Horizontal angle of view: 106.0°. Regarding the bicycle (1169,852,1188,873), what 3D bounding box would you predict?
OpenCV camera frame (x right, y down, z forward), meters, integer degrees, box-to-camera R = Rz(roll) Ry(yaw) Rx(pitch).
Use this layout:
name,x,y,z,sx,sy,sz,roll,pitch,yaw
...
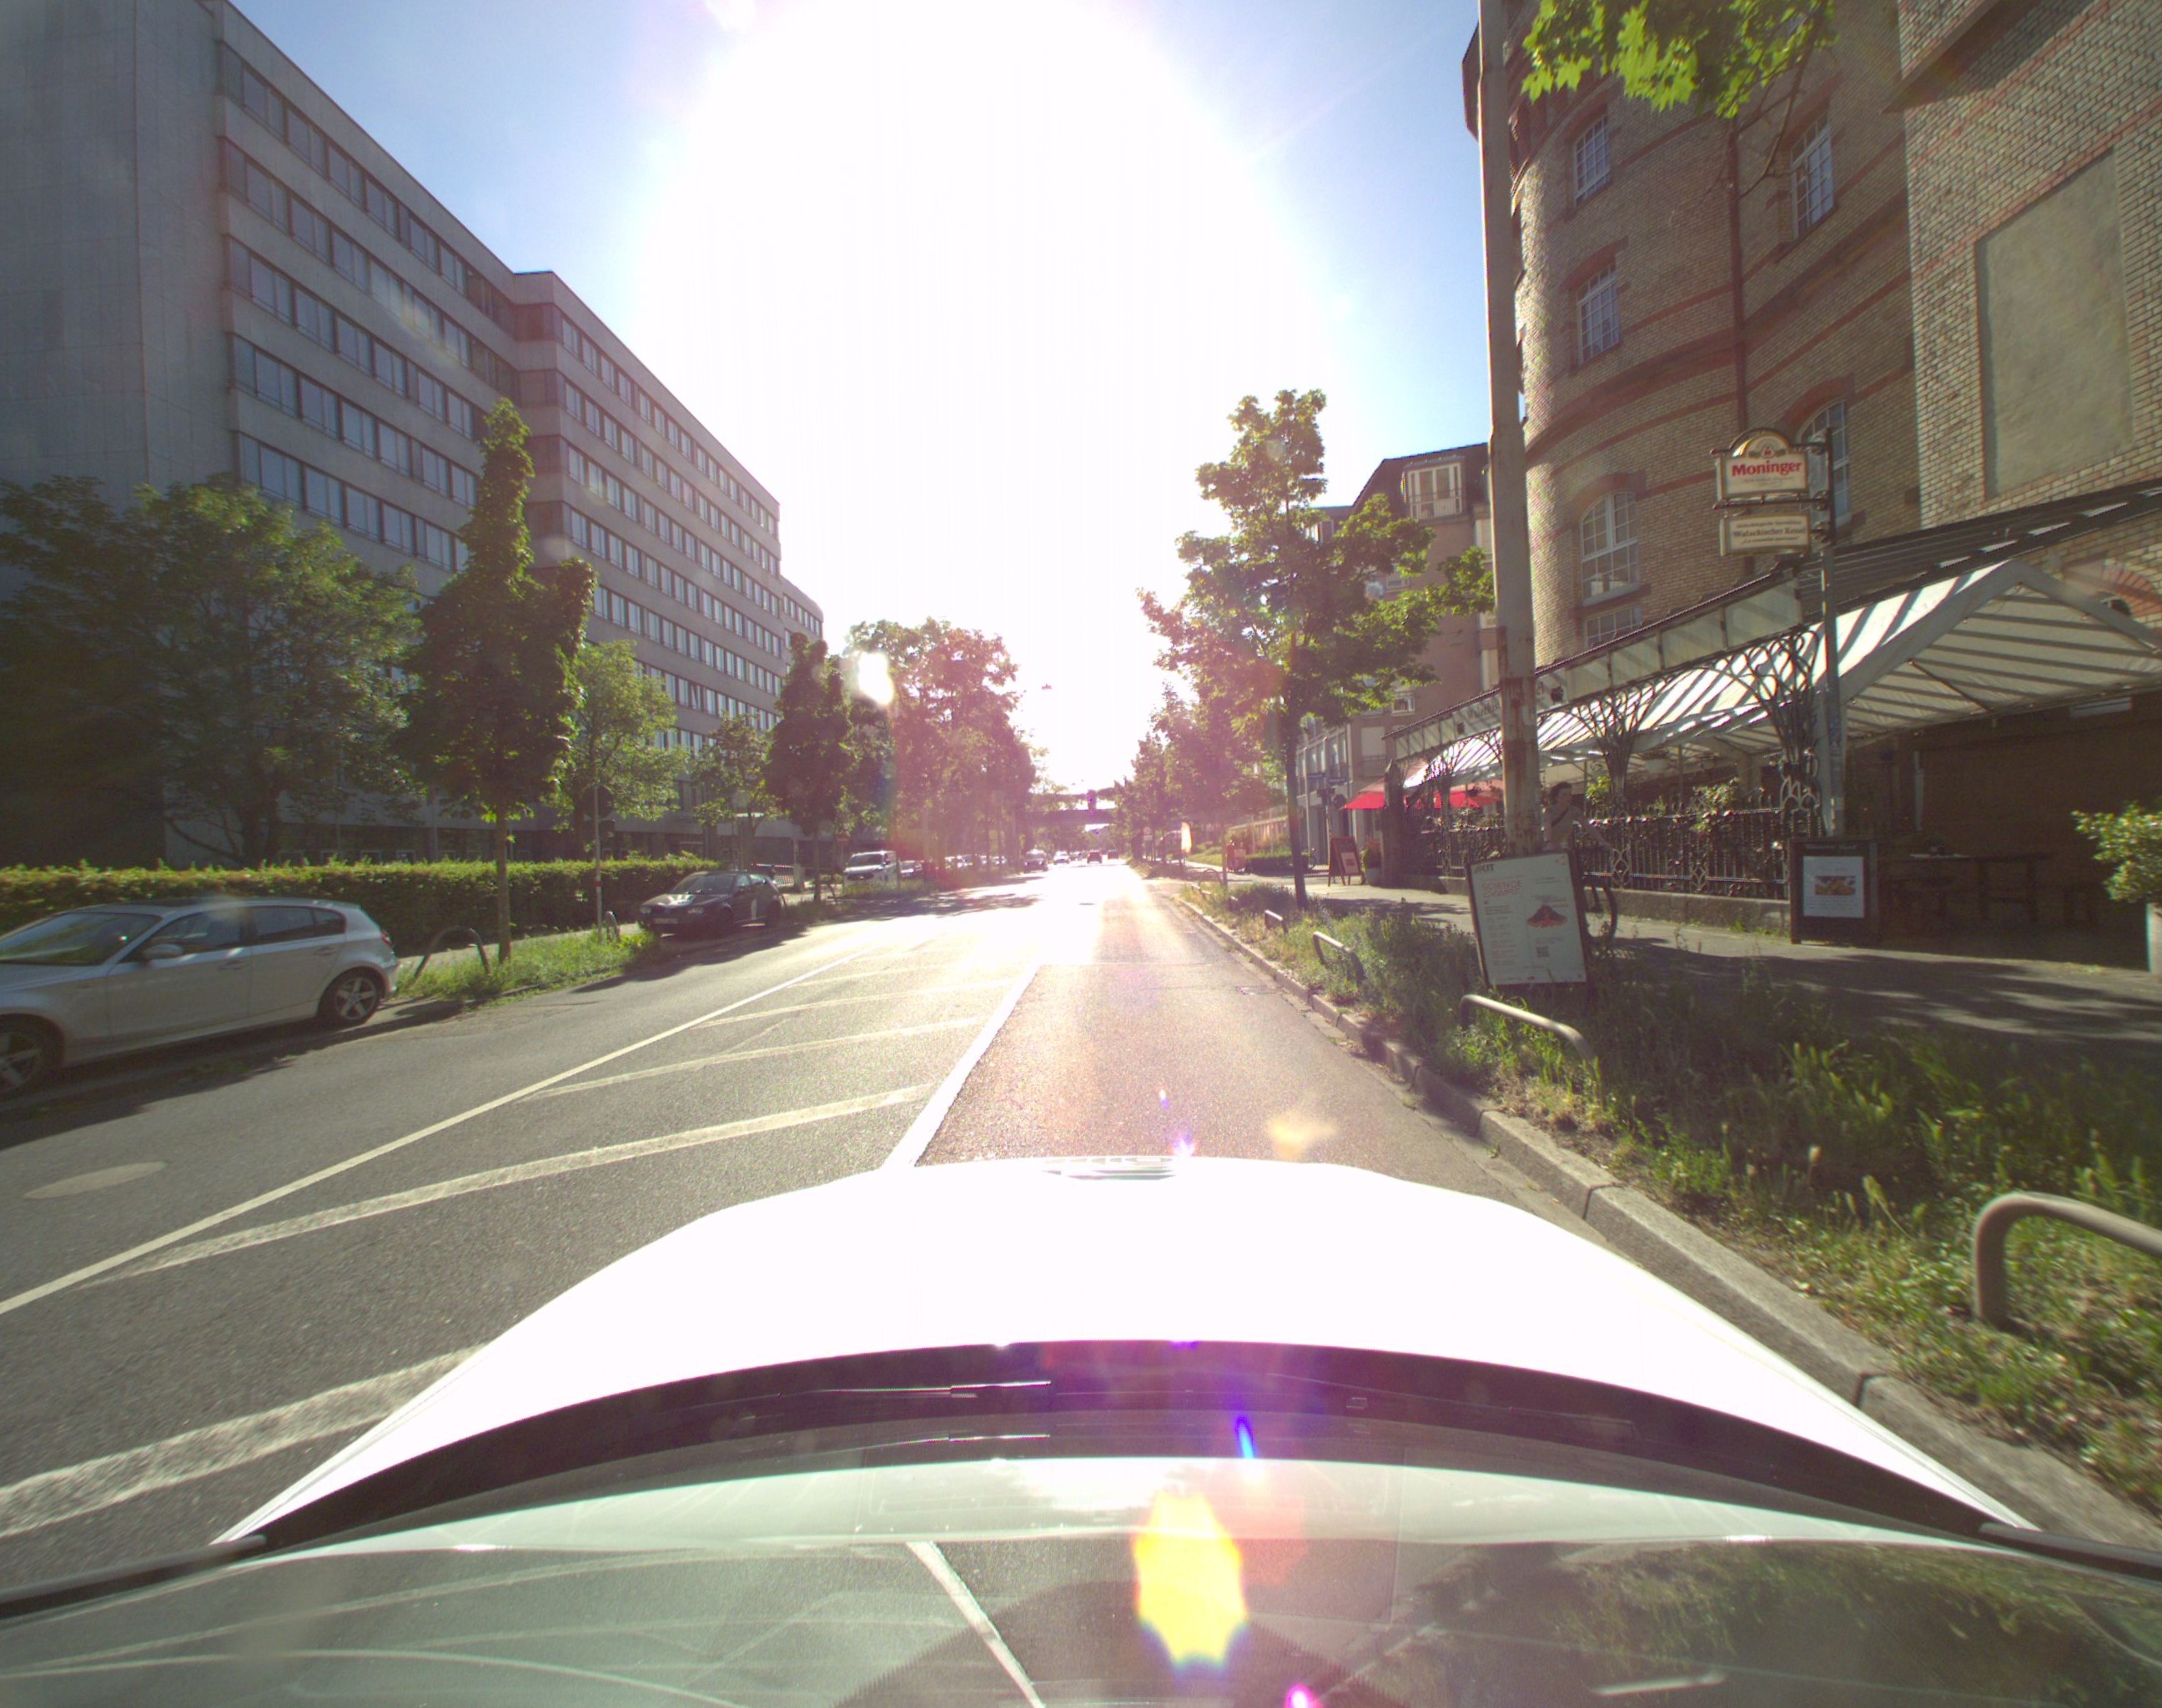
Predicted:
name,x,y,z,sx,sy,sz,roll,pitch,yaw
bicycle,5.228,0.442,43.683,0.586,1.066,2.032,-3,1,18

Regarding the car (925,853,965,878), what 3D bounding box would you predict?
name,x,y,z,sx,sy,sz,roll,pitch,yaw
car,-9.343,0.770,56.305,1.848,1.523,4.067,-2,0,3

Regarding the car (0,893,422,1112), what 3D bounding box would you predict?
name,x,y,z,sx,sy,sz,roll,pitch,yaw
car,-8.695,1.186,7.467,1.680,1.383,4.196,0,1,4

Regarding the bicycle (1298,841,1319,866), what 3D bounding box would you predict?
name,x,y,z,sx,sy,sz,roll,pitch,yaw
bicycle,10.972,-0.024,39.363,0.681,1.027,2.210,-4,2,10

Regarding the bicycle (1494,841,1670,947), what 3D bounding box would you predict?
name,x,y,z,sx,sy,sz,roll,pitch,yaw
bicycle,5.531,0.407,9.180,0.683,1.027,2.096,-3,0,1

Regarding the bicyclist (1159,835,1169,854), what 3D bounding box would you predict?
name,x,y,z,sx,sy,sz,roll,pitch,yaw
bicyclist,7.426,-0.862,72.871,0.665,1.695,0.889,-2,0,0

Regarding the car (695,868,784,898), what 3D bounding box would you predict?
name,x,y,z,sx,sy,sz,roll,pitch,yaw
car,-19.587,1.642,46.828,4.292,1.523,1.861,-2,0,-1

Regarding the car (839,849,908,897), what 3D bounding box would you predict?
name,x,y,z,sx,sy,sz,roll,pitch,yaw
car,-10.148,0.859,40.340,1.975,2.076,5.195,-5,0,-1

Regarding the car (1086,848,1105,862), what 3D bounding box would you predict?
name,x,y,z,sx,sy,sz,roll,pitch,yaw
car,1.657,0.097,97.647,1.980,1.600,4.137,-3,1,-2

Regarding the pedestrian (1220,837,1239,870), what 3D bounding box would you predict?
name,x,y,z,sx,sy,sz,roll,pitch,yaw
pedestrian,7.547,-0.020,41.325,0.652,1.603,0.602,-6,-1,-4

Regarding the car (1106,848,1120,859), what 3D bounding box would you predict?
name,x,y,z,sx,sy,sz,roll,pitch,yaw
car,4.718,-0.114,120.239,1.848,1.523,4.323,-2,0,3

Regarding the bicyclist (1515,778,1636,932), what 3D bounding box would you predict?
name,x,y,z,sx,sy,sz,roll,pitch,yaw
bicyclist,5.505,0.011,9.128,0.698,1.599,0.955,-3,-1,1

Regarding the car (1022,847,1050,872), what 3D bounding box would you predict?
name,x,y,z,sx,sy,sz,roll,pitch,yaw
car,-3.638,0.446,67.079,1.849,1.825,4.610,-5,0,1

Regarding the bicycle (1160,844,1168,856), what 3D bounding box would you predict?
name,x,y,z,sx,sy,sz,roll,pitch,yaw
bicycle,7.433,-0.390,72.987,0.587,1.027,1.860,-3,0,1

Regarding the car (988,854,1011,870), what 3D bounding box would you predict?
name,x,y,z,sx,sy,sz,roll,pitch,yaw
car,-8.488,0.788,84.746,1.849,1.523,4.319,-2,0,1

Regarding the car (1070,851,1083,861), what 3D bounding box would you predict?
name,x,y,z,sx,sy,sz,roll,pitch,yaw
car,-0.678,0.298,131.476,1.849,1.439,4.319,-5,0,1

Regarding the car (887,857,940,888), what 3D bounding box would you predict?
name,x,y,z,sx,sy,sz,roll,pitch,yaw
car,-9.403,1.009,46.023,1.774,1.523,4.323,-2,0,4

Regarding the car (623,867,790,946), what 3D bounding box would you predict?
name,x,y,z,sx,sy,sz,roll,pitch,yaw
car,-8.430,1.118,18.779,1.705,1.458,4.076,-2,0,3

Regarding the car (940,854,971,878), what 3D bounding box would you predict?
name,x,y,z,sx,sy,sz,roll,pitch,yaw
car,-9.396,0.873,61.272,1.852,1.684,4.659,-2,0,-4

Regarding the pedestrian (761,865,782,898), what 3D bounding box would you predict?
name,x,y,z,sx,sy,sz,roll,pitch,yaw
pedestrian,-19.276,1.730,50.765,0.832,2.014,1.008,-1,-1,2

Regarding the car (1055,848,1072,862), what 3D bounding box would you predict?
name,x,y,z,sx,sy,sz,roll,pitch,yaw
car,-2.131,0.151,101.052,1.849,1.568,4.716,-5,0,1

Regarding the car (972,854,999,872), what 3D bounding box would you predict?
name,x,y,z,sx,sy,sz,roll,pitch,yaw
car,-8.741,0.812,75.058,1.848,1.568,3.874,-2,0,2

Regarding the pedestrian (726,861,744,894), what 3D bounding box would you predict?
name,x,y,z,sx,sy,sz,roll,pitch,yaw
pedestrian,-22.942,1.548,53.992,0.768,2.093,0.792,-1,-1,3

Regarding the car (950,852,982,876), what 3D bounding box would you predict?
name,x,y,z,sx,sy,sz,roll,pitch,yaw
car,-9.440,0.776,67.044,1.849,1.850,4.563,-2,0,1
